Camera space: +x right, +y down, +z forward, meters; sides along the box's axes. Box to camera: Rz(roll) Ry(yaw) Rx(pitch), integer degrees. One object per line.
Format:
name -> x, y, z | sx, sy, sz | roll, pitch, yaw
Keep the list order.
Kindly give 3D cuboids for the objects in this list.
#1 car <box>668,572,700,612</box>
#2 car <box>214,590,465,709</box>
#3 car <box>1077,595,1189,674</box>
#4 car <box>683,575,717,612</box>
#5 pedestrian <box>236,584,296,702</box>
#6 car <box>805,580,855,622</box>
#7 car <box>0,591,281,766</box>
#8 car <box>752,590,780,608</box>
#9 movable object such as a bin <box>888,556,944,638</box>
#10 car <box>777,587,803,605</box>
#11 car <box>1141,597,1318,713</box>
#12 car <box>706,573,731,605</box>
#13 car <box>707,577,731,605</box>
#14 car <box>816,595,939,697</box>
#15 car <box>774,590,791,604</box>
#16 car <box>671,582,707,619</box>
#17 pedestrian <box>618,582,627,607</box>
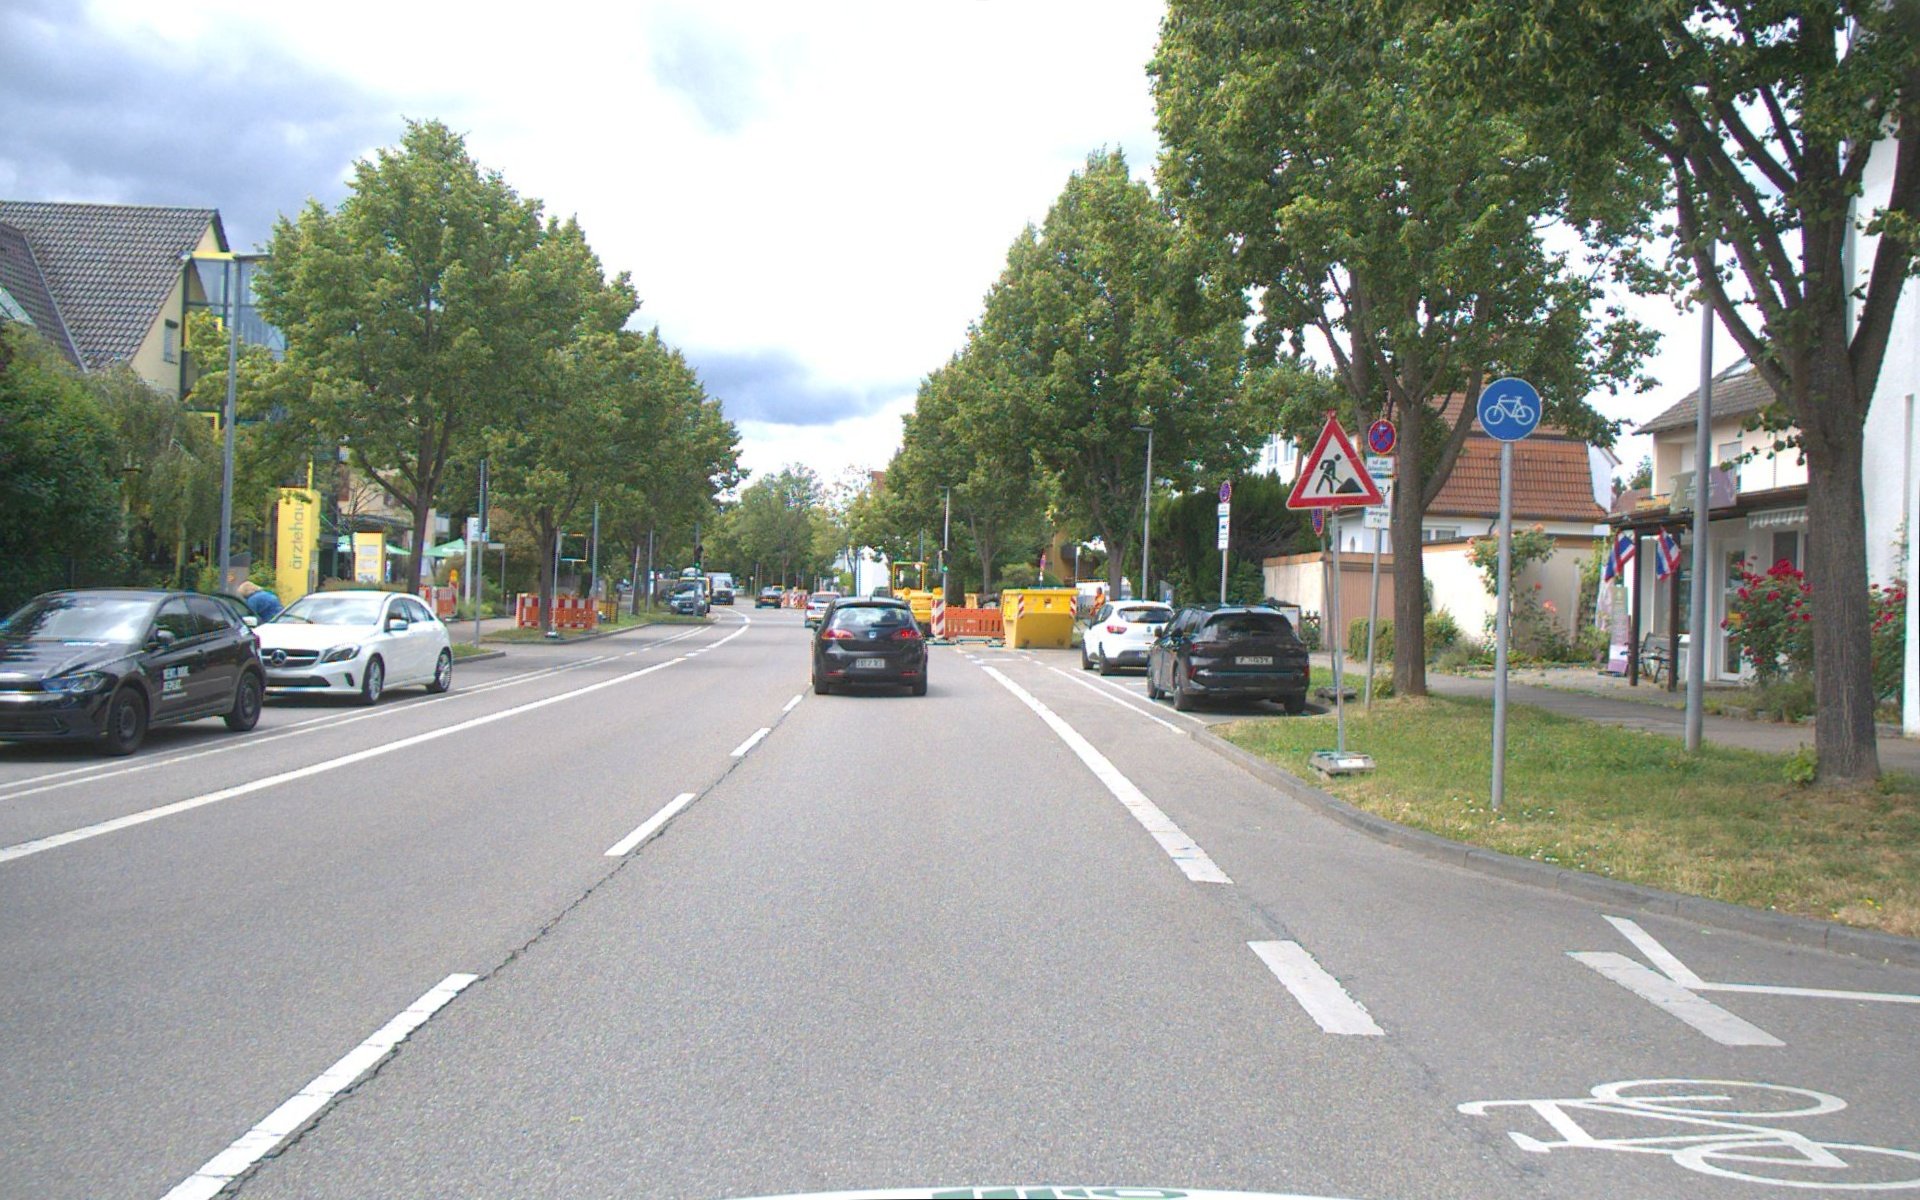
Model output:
car -> -19.097, -0.566, 114.397 | 2.054, 2.672, 5.035 | 1, 0, -9
car -> -8.176, 0.591, 22.224 | 1.679, 1.431, 4.301 | 1, 0, 1
car -> 3.453, 0.657, 33.591 | 1.639, 1.488, 3.997 | 1, 0, -3
car -> -16.356, -0.409, 104.236 | 2.054, 2.213, 5.035 | 1, 0, -9
pedestrian -> -9.294, 0.564, 22.133 | 0.577, 1.555, 0.690 | 1, 0, -36
car -> -5.455, 0.014, 69.972 | 1.867, 1.715, 3.739 | 0, 0, -1
car -> -8.022, 0.639, 15.662 | 1.609, 1.445, 4.019 | 0, 0, -2
car -> -15.233, -0.088, 130.041 | 1.779, 1.399, 3.681 | 1, 0, -13
movable object such as a bin -> -1.505, -0.120, 55.570 | 1.733, 2.619, 3.738 | 1, 0, -3
car -> -14.089, -0.315, 136.694 | 1.778, 1.440, 3.682 | 1, 0, -12
car -> 3.747, 0.709, 23.761 | 1.671, 1.480, 4.615 | 1, 0, -2
car -> -22.108, -1.013, 151.653 | 2.245, 2.840, 7.130 | 0, 0, -8
car -> -21.186, -0.762, 145.544 | 1.991, 2.426, 5.252 | 0, 0, -8
car -> -1.285, 0.661, 25.888 | 1.782, 1.463, 3.738 | 0, 0, -3
car -> -19.071, -0.308, 177.993 | 1.775, 1.440, 3.688 | 1, 0, -6
car -> -13.459, 0.014, 82.328 | 1.636, 1.803, 4.460 | 0, 0, -8
pedestrian -> -23.955, -0.393, 117.289 | 0.584, 1.772, 0.573 | 1, 0, -9
